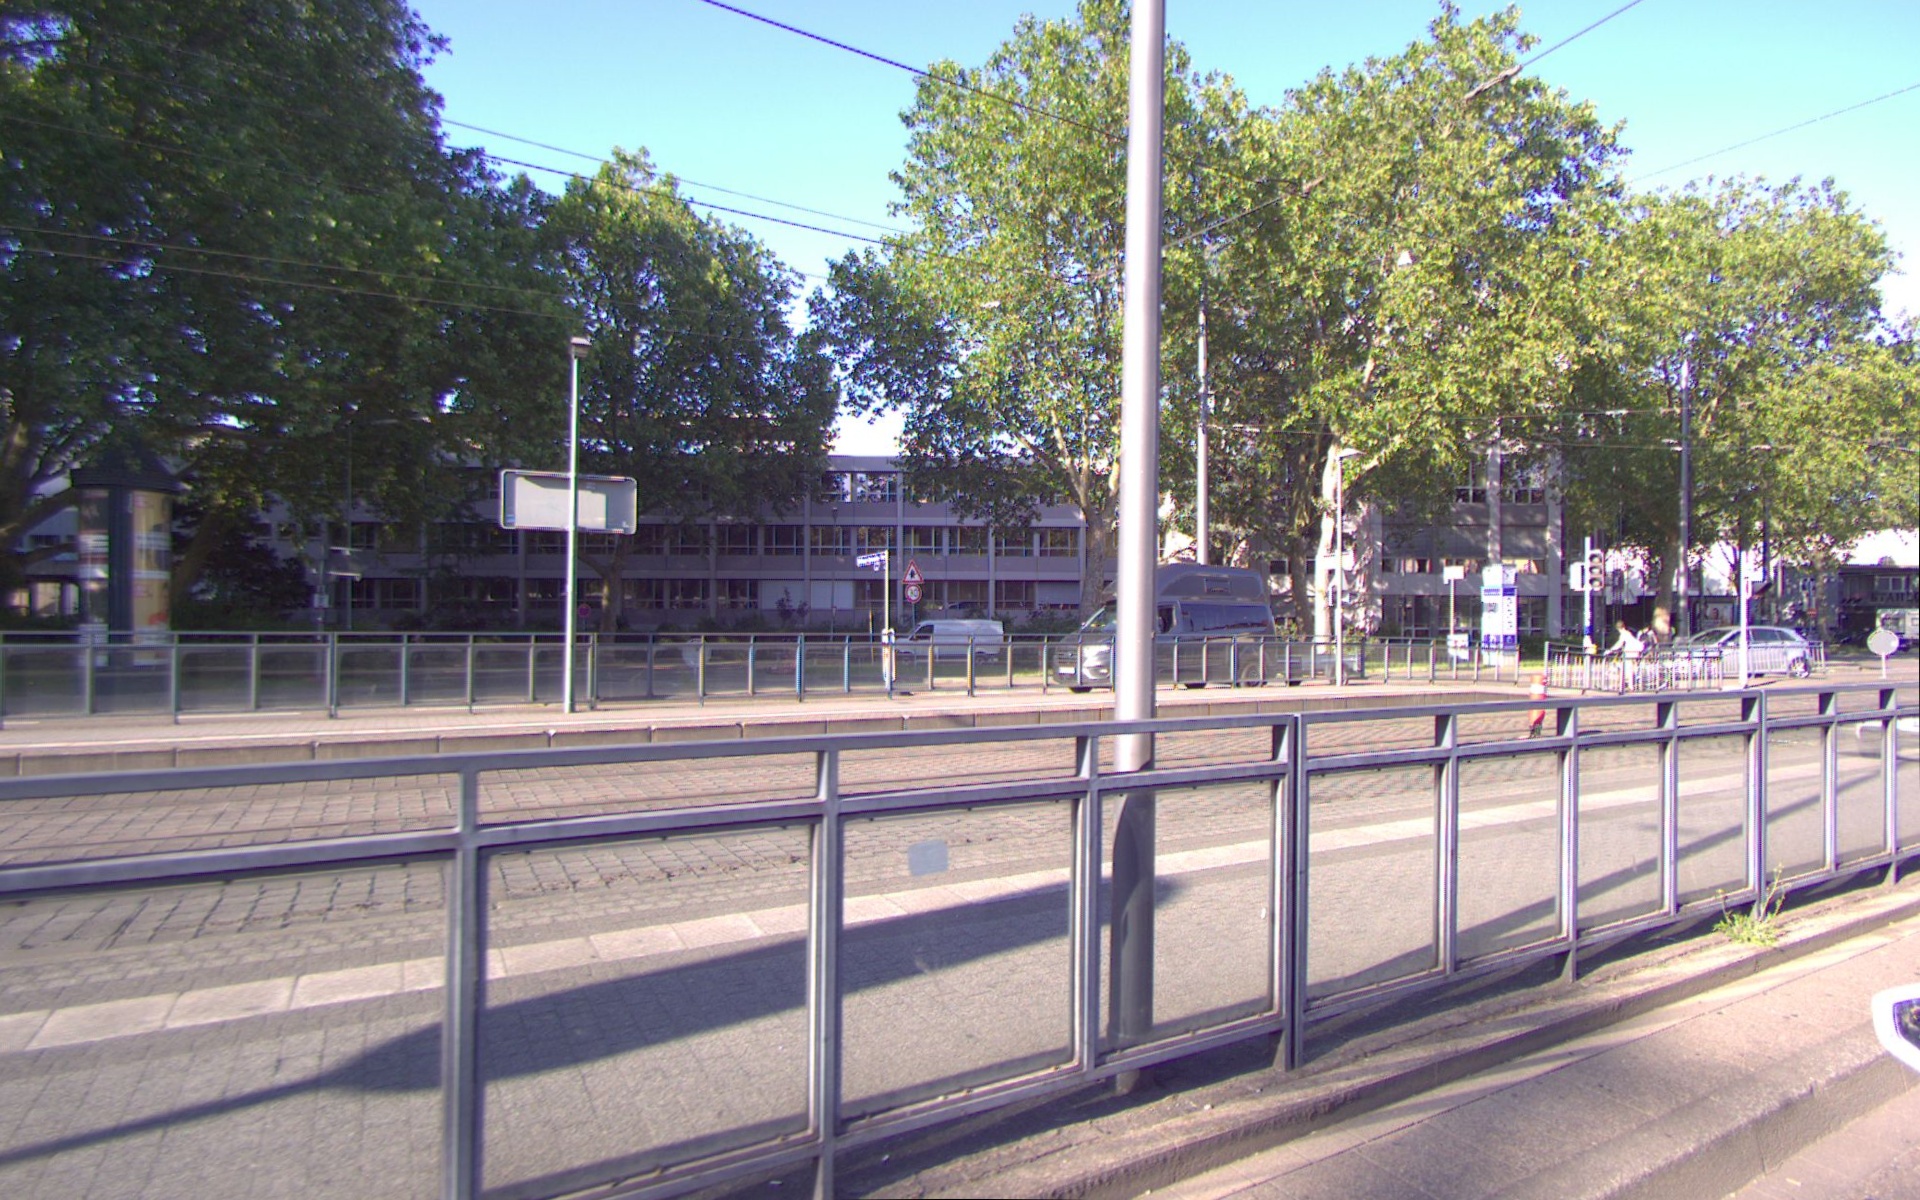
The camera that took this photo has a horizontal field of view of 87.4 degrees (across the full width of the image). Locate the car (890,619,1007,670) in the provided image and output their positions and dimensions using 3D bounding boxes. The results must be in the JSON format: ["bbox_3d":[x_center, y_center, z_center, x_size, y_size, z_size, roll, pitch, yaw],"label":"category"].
[{"bbox_3d":[-0.613,2.185,49.795,5.616,2.366,2.156,1,-1,-7],"label":"car"}]

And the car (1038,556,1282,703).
[{"bbox_3d":[4.296,0.644,21.279,4.976,2.779,2.055,2,-1,-33],"label":"car"}]

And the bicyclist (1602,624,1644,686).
[{"bbox_3d":[15.548,1.280,23.576,0.788,1.433,0.526,0,-1,31],"label":"bicyclist"}]

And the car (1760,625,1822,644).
[{"bbox_3d":[70.483,2.960,85.211,3.925,1.530,1.798,1,-1,-6],"label":"car"}]

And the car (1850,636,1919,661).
[{"bbox_3d":[62.050,3.210,66.839,1.767,1.530,3.994,1,-1,-8],"label":"car"}]

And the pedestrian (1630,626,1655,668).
[{"bbox_3d":[25.710,1.765,37.846,0.669,1.572,0.533,1,-1,-30],"label":"pedestrian"}]

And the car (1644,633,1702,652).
[{"bbox_3d":[60.914,3.610,85.933,1.767,1.530,3.994,1,-1,-8],"label":"car"}]

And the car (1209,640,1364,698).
[{"bbox_3d":[7.601,1.583,23.409,2.881,1.178,2.055,2,-1,-32],"label":"car"}]

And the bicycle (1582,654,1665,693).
[{"bbox_3d":[15.541,1.710,23.573,1.588,0.827,0.526,0,-1,31],"label":"bicycle"}]

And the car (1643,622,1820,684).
[{"bbox_3d":[23.435,1.590,30.595,4.080,1.715,1.820,1,0,-4],"label":"car"}]

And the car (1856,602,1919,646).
[{"bbox_3d":[70.803,1.815,74.772,6.413,3.207,2.501,1,-1,-7],"label":"car"}]
